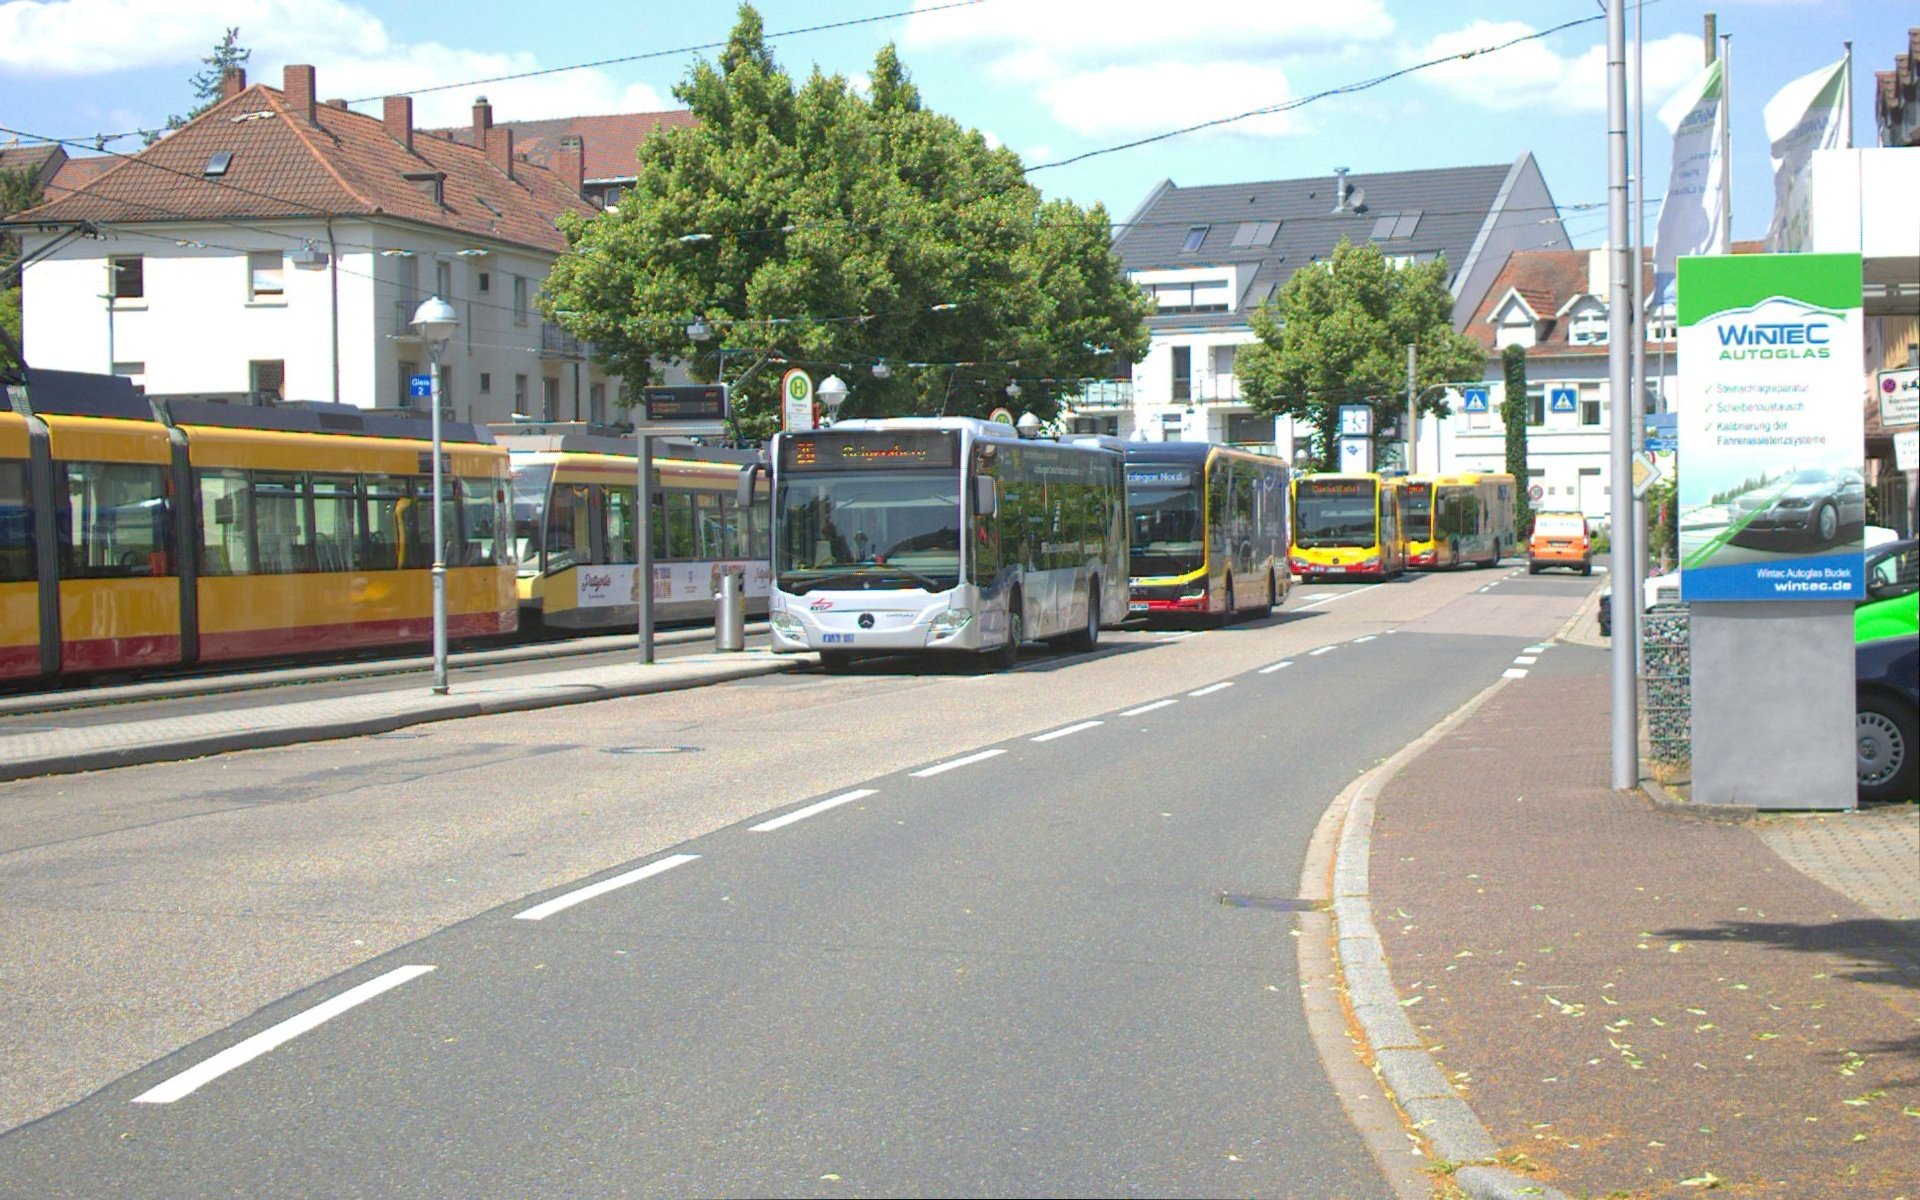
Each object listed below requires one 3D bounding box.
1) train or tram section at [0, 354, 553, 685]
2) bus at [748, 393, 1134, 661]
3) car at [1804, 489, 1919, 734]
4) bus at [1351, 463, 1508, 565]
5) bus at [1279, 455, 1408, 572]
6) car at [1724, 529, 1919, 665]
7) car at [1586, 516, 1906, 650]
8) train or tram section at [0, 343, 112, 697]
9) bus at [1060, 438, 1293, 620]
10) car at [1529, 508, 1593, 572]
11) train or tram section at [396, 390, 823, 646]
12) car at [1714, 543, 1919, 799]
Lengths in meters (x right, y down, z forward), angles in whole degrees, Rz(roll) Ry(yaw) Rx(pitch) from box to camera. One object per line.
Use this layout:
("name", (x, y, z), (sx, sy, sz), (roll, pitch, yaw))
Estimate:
("train or tram section", (-8.977, -0.997, 44.415), (2.786, 3.556, 14.698), (0, 1, 12))
("bus", (0.063, -0.957, 46.081), (2.732, 3.118, 12.002), (0, 1, 12))
("car", (8.310, 0.069, 24.849), (1.836, 1.788, 4.024), (-1, 1, -37))
("bus", (15.558, -2.805, 113.211), (2.637, 3.207, 9.929), (0, 1, 23))
("bus", (11.259, -2.491, 100.105), (2.732, 3.207, 11.043), (0, 1, 12))
("car", (10.963, -0.057, 39.533), (3.929, 1.513, 1.823), (-1, 1, 0))
("car", (11.300, -0.270, 49.702), (4.305, 1.803, 2.000), (1, 3, 8))
("train or tram section", (-11.975, -0.720, 30.316), (2.811, 3.556, 14.174), (0, 1, 12))
("bus", (4.281, -1.323, 64.990), (2.732, 3.118, 12.002), (0, 1, 12))
("car", (18.918, -1.896, 108.186), (1.809, 1.974, 3.998), (0, 1, 13))
("train or tram section", (-5.670, -1.386, 60.103), (2.786, 3.882, 15.544), (0, 1, 12))
("car", (6.631, 0.381, 19.536), (4.166, 1.434, 1.898), (0, 1, 35))
